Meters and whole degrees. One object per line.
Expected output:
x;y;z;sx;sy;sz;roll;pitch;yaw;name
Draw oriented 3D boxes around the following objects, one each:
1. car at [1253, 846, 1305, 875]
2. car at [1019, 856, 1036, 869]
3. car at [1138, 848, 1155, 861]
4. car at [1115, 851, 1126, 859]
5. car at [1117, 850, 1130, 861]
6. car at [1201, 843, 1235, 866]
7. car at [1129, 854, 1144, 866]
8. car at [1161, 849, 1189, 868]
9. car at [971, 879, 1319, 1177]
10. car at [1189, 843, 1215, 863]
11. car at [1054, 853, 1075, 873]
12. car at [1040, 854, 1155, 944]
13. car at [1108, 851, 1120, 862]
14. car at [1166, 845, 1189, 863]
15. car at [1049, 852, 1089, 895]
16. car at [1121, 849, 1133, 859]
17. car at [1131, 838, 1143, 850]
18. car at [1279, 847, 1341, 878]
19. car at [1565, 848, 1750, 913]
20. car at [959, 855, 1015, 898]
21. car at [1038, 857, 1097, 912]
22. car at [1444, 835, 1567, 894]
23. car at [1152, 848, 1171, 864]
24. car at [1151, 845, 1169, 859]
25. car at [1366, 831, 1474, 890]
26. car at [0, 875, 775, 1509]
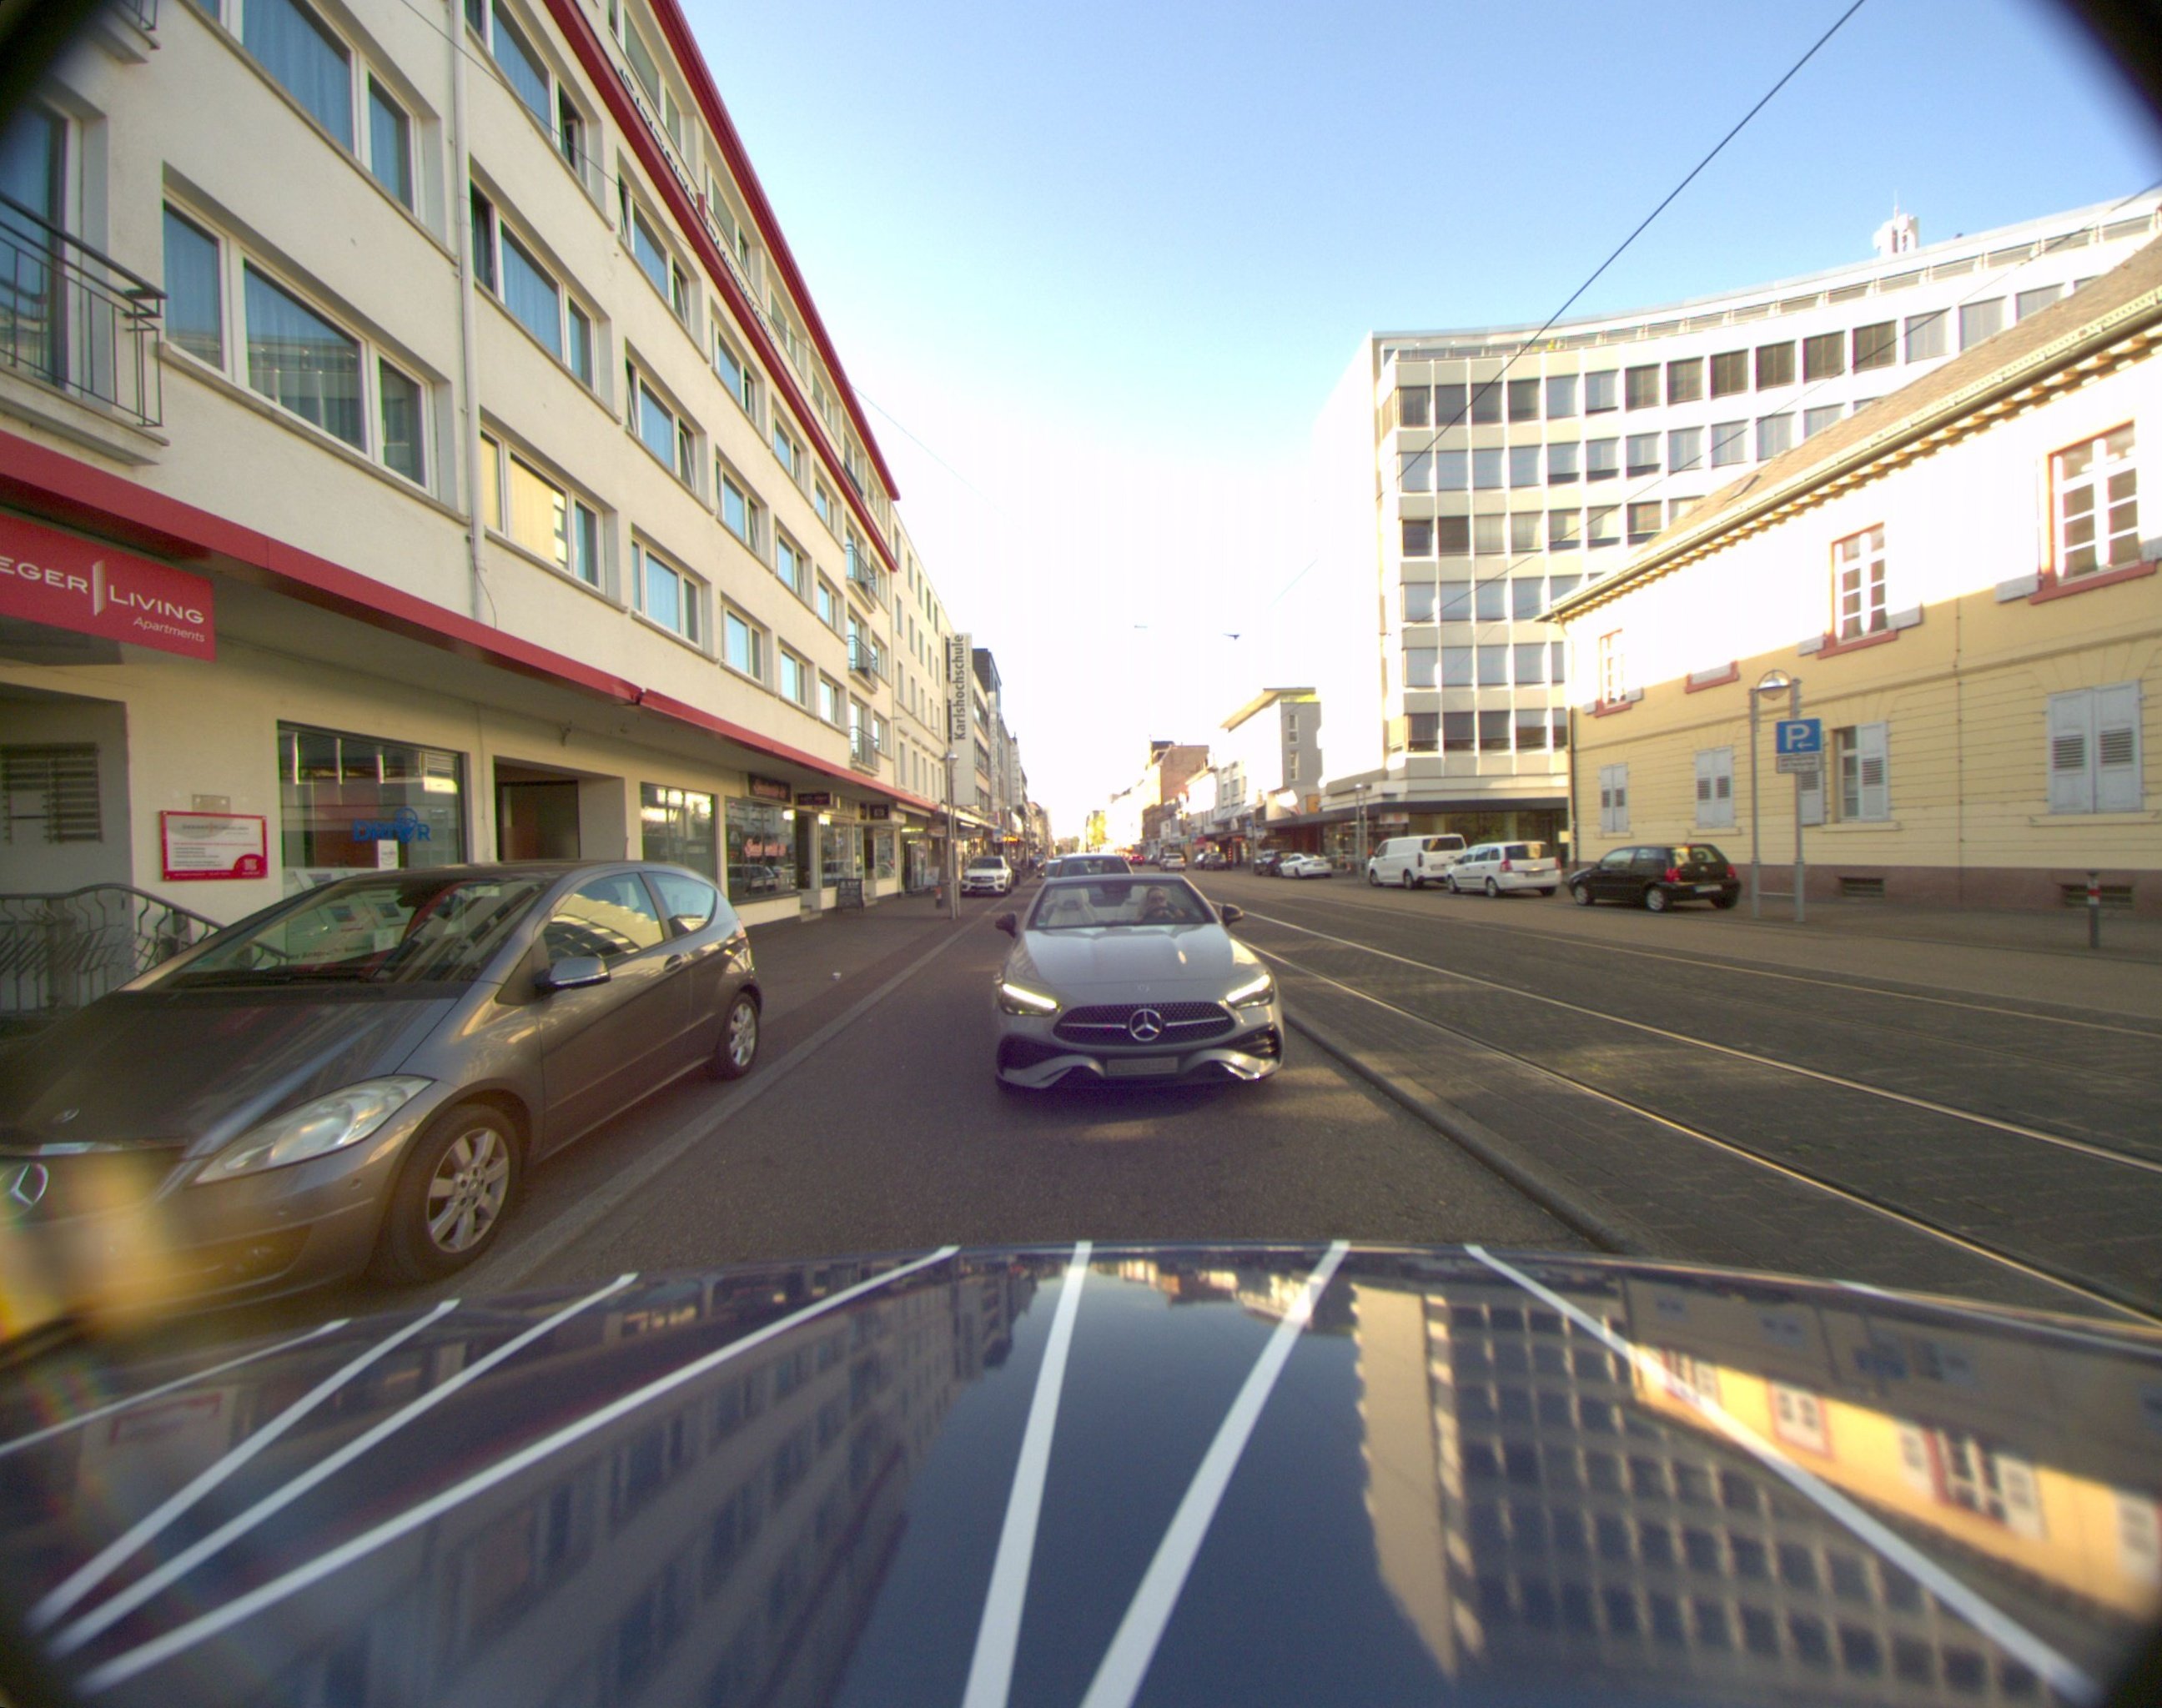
12.329;0.362;47.677;1.999;1.694;4.107;-3;1;-2;car
-6.142;0.963;86.910;1.714;1.430;3.756;-2;1;-1;car
10.546;0.008;122.207;1.999;2.002;5.320;-1;0;-2;car
9.073;0.261;176.588;2.148;1.850;3.998;-2;1;-2;car
7.165;0.251;128.533;1.914;1.883;3.855;-2;1;-2;car
11.791;0.057;65.604;1.999;1.849;3.998;-2;1;-2;car
7.593;0.803;103.475;1.964;1.499;4.000;-2;1;4;car
8.079;0.385;65.797;1.760;1.587;3.999;-1;0;-2;car
0.226;1.011;6.171;1.884;1.375;3.998;-2;1;-4;car
11.883;-0.062;74.900;1.789;1.870;3.999;-1;0;-2;car
-1.606;0.836;75.141;1.999;1.793;3.999;-2;1;-1;car
0.202;0.807;15.611;1.927;1.533;3.998;-2;0;-4;car
6.594;0.453;150.667;1.999;2.002;3.998;-2;1;-2;car
11.483;0.042;90.645;2.200;2.030;3.999;-1;0;-1;car
-0.547;0.798;32.772;1.573;1.670;3.688;-2;1;-1;car
9.551;-0.048;157.316;1.999;2.002;3.999;-1;0;-2;car
9.837;-1.703;134.415;1.998;2.002;4.001;-2;0;4;car
12.623;0.420;42.253;1.999;1.521;4.373;-2;1;-1;car
12.801;0.536;17.126;1.688;1.246;3.212;-2;1;-1;car
-3.847;0.889;31.712;1.999;1.620;3.998;-1;0;-4;car
-0.453;0.884;23.868;1.648;1.506;3.844;-2;0;-2;car
12.775;0.267;23.159;1.641;1.600;4.005;-2;1;3;car
10.664;0.243;100.926;1.998;2.002;4.000;-1;0;1;car
11.521;-0.296;111.409;1.999;2.002;3.998;-2;1;-2;car
12.680;0.231;28.781;2.040;2.002;4.621;-1;0;1;car
-3.234;0.959;3.963;1.683;1.537;3.999;-2;0;-1;car
